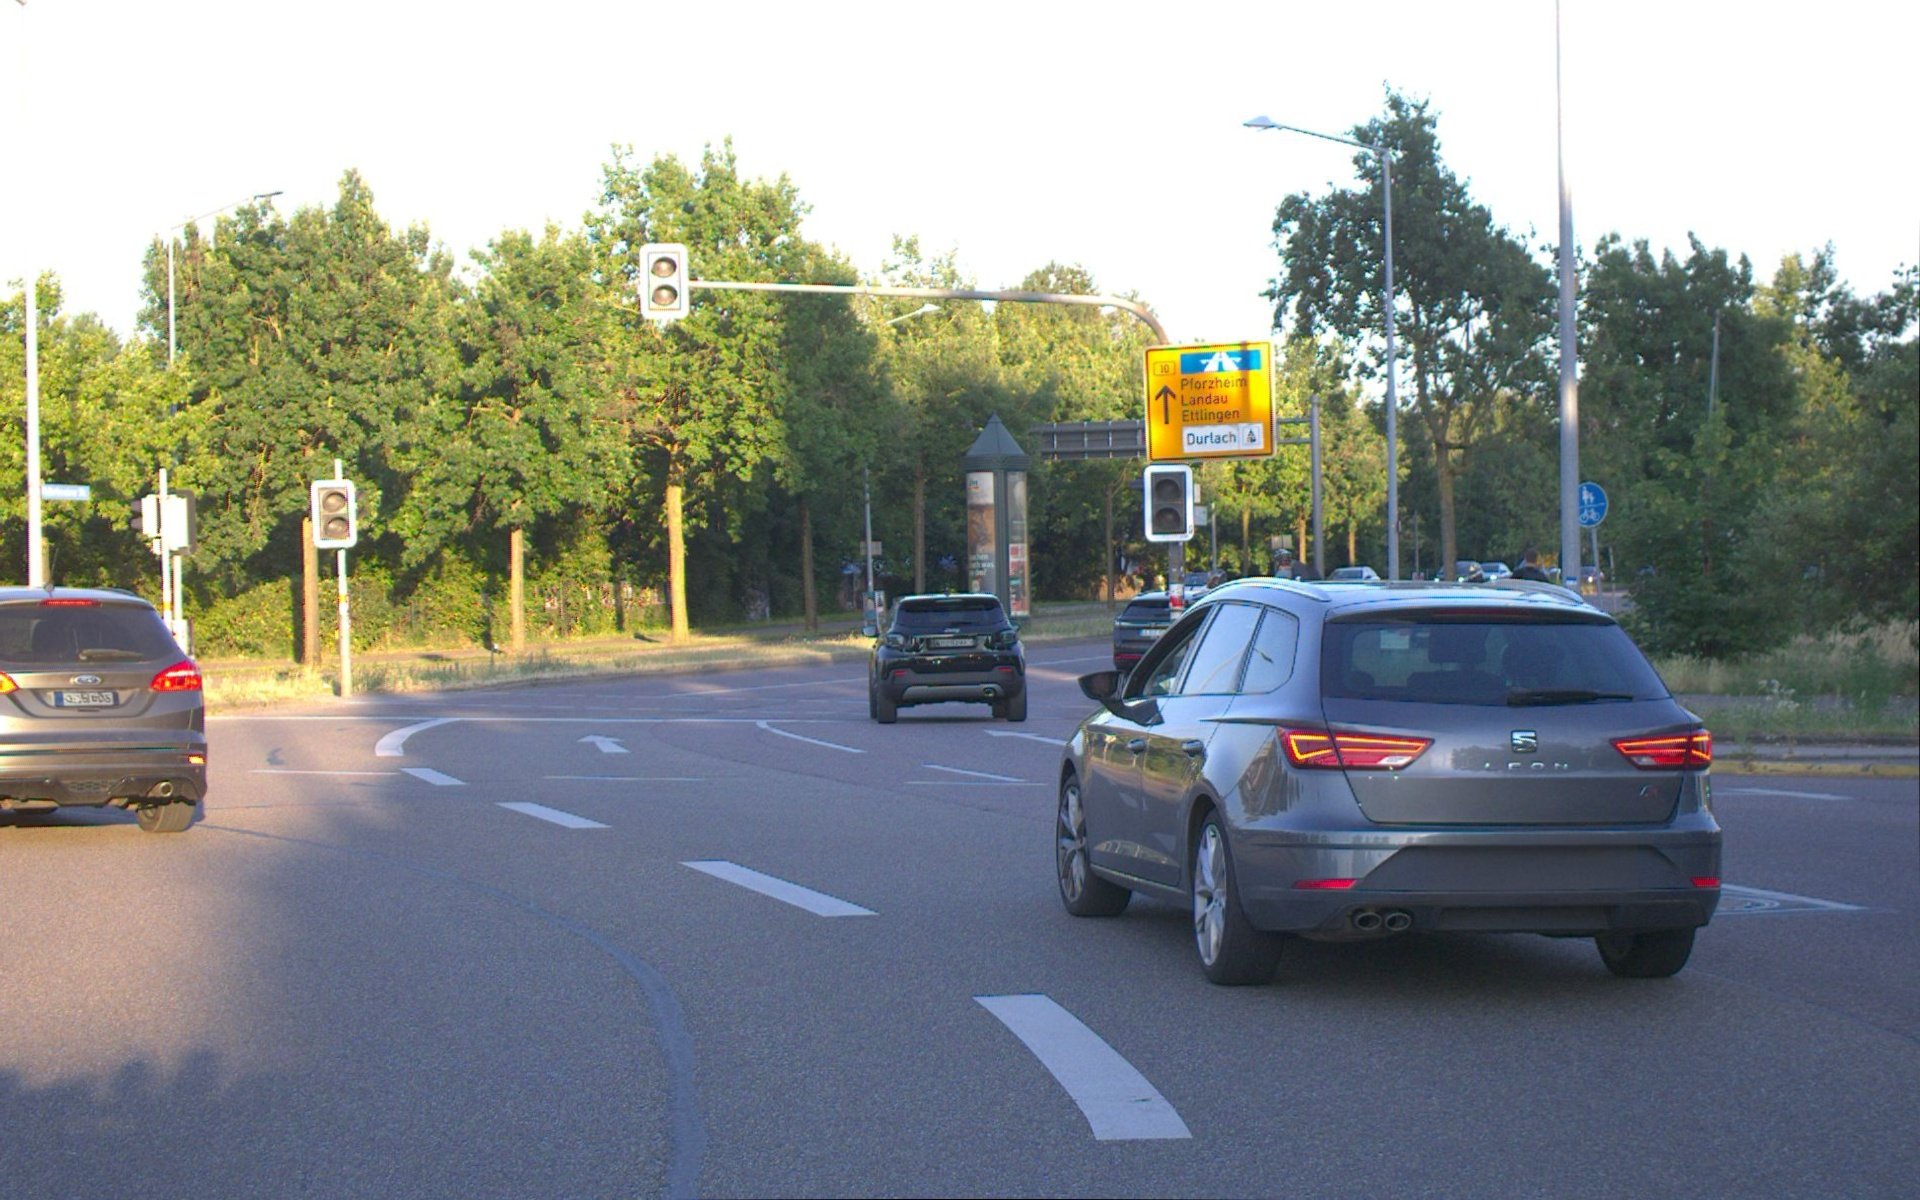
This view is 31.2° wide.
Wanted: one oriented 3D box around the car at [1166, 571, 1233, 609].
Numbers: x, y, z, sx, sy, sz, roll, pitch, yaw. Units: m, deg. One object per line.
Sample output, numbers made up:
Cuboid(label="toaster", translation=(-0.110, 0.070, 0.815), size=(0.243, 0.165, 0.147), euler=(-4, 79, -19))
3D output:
Cuboid(label="car", translation=(9.359, -0.384, 134.068), size=(1.551, 1.438, 3.482), euler=(-2, -1, 22))

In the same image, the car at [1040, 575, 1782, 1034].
Cuboid(label="car", translation=(1.518, 0.639, 13.150), size=(1.745, 1.419, 4.136), euler=(-1, 1, -8))

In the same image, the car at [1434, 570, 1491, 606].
Cuboid(label="car", translation=(23.838, -0.582, 162.866), size=(1.799, 1.627, 4.451), euler=(-2, -1, 20))

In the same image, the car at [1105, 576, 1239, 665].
Cuboid(label="car", translation=(3.849, 0.350, 61.812), size=(1.747, 1.483, 4.132), euler=(0, 1, 13))

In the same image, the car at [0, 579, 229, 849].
Cuboid(label="car", translation=(-5.978, 0.618, 20.931), size=(1.746, 1.461, 4.135), euler=(-1, 1, -31))

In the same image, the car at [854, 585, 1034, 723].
Cuboid(label="car", translation=(-0.245, 0.615, 41.753), size=(1.812, 1.520, 4.135), euler=(-1, 1, -5))

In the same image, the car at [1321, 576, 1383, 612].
Cuboid(label="car", translation=(16.301, -0.248, 142.795), size=(1.723, 1.444, 4.546), euler=(0, 1, 18))

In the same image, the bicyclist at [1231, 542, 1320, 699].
Cuboid(label="bicyclist", translation=(3.916, 0.253, 42.647), size=(0.908, 1.891, 0.641), euler=(-3, 0, 17))

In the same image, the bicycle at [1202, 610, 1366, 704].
Cuboid(label="bicycle", translation=(4.012, 0.712, 42.601), size=(1.923, 1.081, 0.456), euler=(-2, 0, 18))

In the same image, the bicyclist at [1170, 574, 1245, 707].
Cuboid(label="bicyclist", translation=(3.251, 0.532, 45.159), size=(0.768, 1.696, 0.641), euler=(-3, 0, 17))

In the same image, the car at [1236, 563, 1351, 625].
Cuboid(label="car", translation=(8.188, -0.162, 84.103), size=(1.995, 1.466, 3.997), euler=(0, 1, 18))

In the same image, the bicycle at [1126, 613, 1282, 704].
Cuboid(label="bicycle", translation=(3.201, 0.769, 45.136), size=(1.923, 1.081, 0.456), euler=(-3, 0, 18))

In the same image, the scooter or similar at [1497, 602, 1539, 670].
Cuboid(label="scooter or similar", translation=(7.682, 0.492, 47.352), size=(0.246, 0.911, 1.039), euler=(-1, 1, -9))

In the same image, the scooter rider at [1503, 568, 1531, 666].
Cuboid(label="scooter rider", translation=(7.659, 0.230, 47.279), size=(0.264, 1.334, 0.406), euler=(-1, 1, -9))
